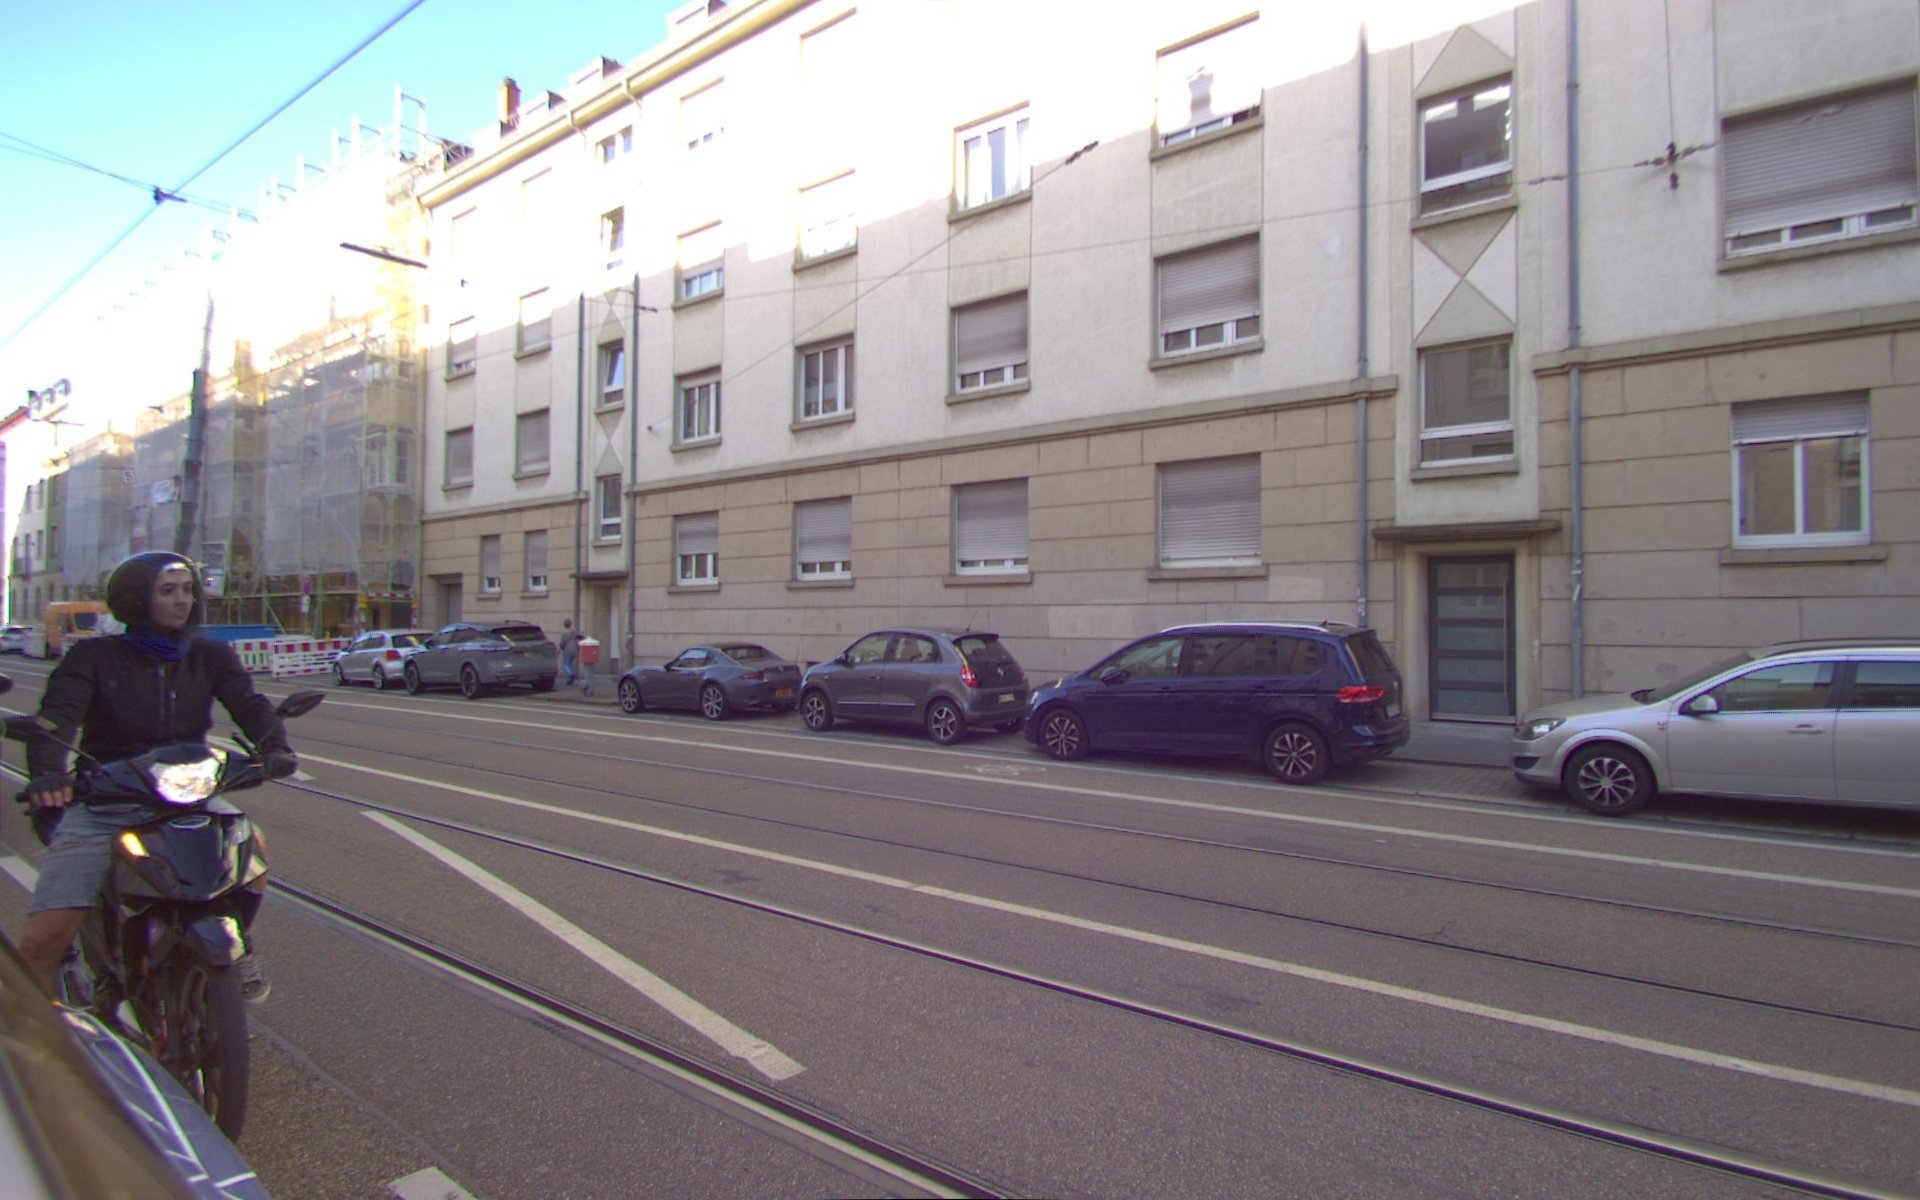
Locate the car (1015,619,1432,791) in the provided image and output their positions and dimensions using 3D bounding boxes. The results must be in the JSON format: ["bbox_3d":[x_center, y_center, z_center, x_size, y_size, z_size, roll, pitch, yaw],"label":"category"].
[{"bbox_3d":[2.937,1.042,11.716,4.285,1.597,1.887,-1,0,37],"label":"car"}]

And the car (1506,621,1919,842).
[{"bbox_3d":[7.223,0.991,8.534,4.358,1.571,1.975,-1,0,38],"label":"car"}]

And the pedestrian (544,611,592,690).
[{"bbox_3d":[-9.177,1.164,23.690,0.776,1.777,0.742,-1,0,41],"label":"pedestrian"}]

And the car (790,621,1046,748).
[{"bbox_3d":[-0.668,1.116,14.688,3.493,1.584,1.650,-1,0,38],"label":"car"}]

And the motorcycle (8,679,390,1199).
[{"bbox_3d":[-2.405,0.913,3.084,1.980,1.228,0.532,-1,0,41],"label":"motorcycle"}]

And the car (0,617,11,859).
[{"bbox_3d":[-8.042,0.879,7.011,3.997,1.515,1.670,-2,-3,40],"label":"car"}]

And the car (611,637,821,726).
[{"bbox_3d":[-4.260,1.334,17.526,3.483,1.286,1.730,-1,0,37],"label":"car"}]

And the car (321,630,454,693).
[{"bbox_3d":[-14.460,1.494,25.494,3.639,1.402,1.617,-1,0,37],"label":"car"}]

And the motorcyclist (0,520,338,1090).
[{"bbox_3d":[-2.542,0.545,3.181,0.598,1.516,0.851,-1,0,41],"label":"motorcyclist"}]

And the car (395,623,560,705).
[{"bbox_3d":[-10.844,1.354,22.650,4.108,1.603,1.691,-1,0,38],"label":"car"}]
